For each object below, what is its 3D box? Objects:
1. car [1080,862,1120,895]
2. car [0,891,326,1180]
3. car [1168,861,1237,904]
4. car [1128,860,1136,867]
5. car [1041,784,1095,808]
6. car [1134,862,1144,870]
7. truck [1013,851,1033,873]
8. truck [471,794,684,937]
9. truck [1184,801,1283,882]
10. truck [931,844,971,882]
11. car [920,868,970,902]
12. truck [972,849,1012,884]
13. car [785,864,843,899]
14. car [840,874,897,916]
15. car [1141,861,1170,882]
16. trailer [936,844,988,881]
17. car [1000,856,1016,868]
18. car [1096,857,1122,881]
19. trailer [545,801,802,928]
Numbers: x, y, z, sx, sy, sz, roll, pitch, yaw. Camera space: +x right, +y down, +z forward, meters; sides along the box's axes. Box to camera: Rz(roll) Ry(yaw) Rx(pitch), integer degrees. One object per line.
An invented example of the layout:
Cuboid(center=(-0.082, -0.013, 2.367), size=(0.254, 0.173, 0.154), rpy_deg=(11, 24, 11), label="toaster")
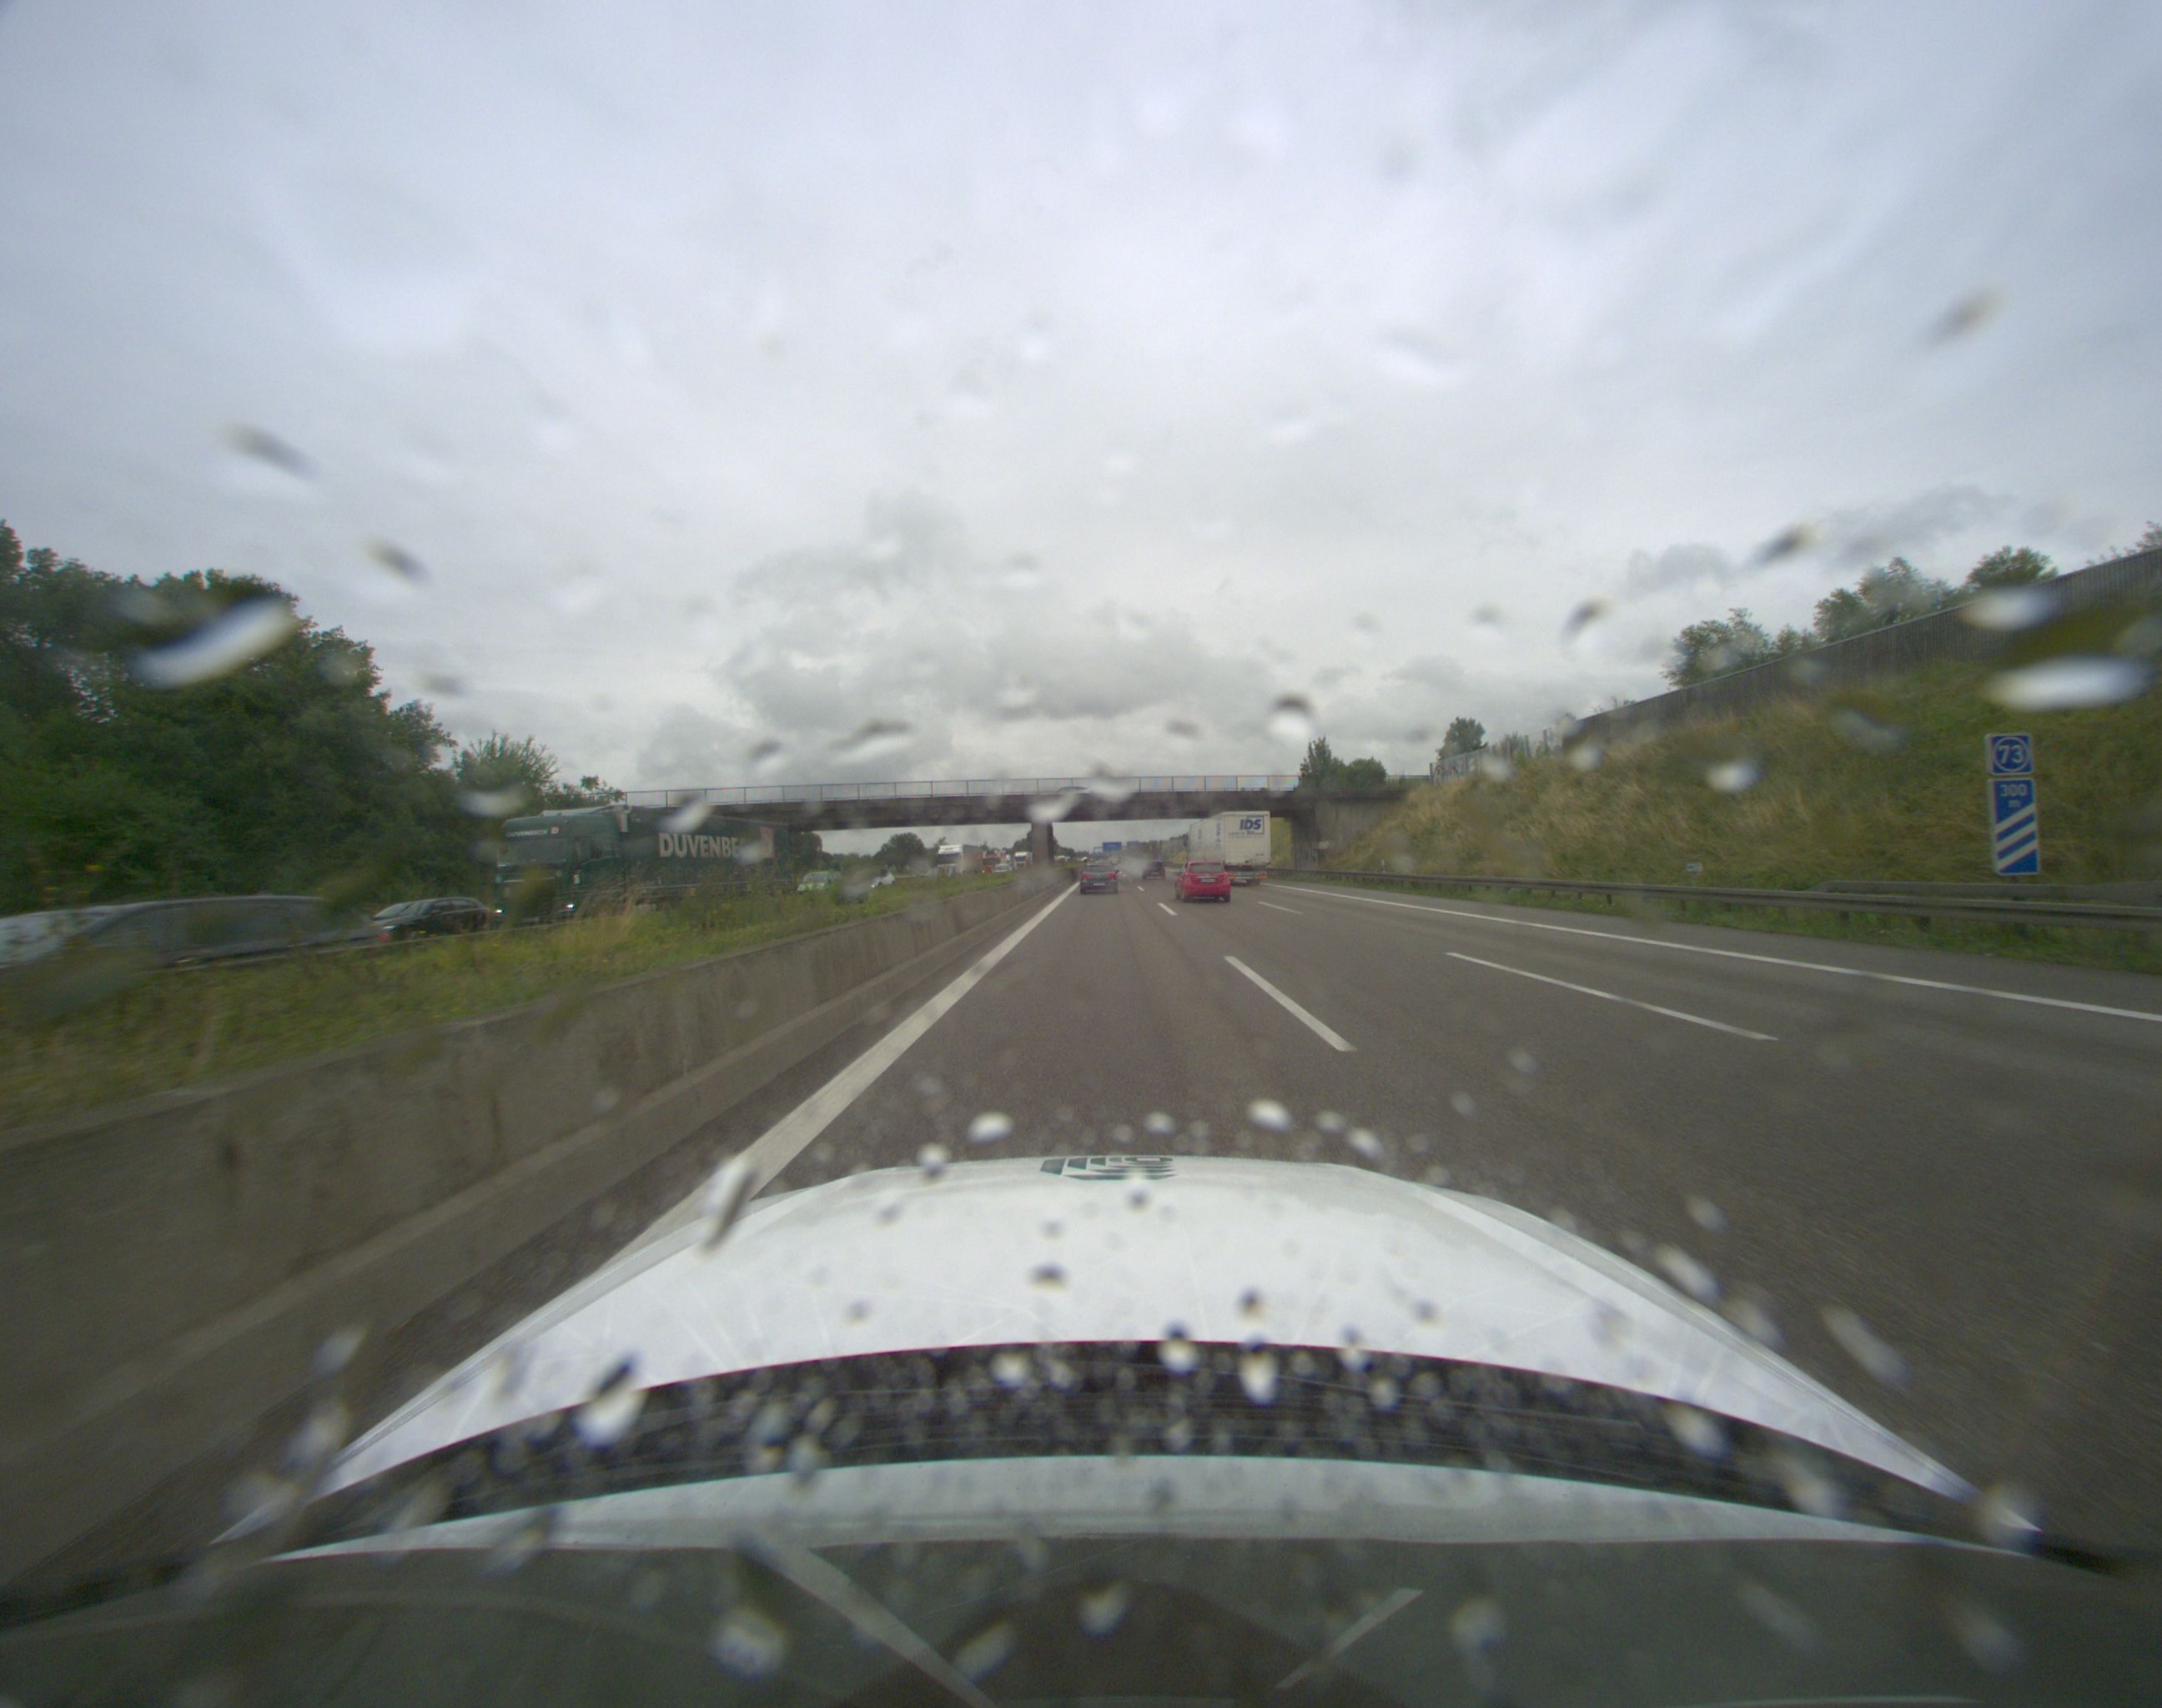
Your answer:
Cuboid(center=(0.876, 1.122, 38.110), size=(1.762, 1.467, 4.000), rpy_deg=(0, -1, 1), label="car")
Cuboid(center=(-8.802, 1.421, 6.435), size=(1.779, 2.013, 4.001), rpy_deg=(-3, -1, 2), label="car")
Cuboid(center=(4.436, 0.991, 30.372), size=(1.884, 1.447, 4.685), rpy_deg=(-1, -1, 1), label="car")
Cuboid(center=(13.513, 2.536, 217.036), size=(1.986, 1.812, 4.229), rpy_deg=(-3, -1, 2), label="car")
Cuboid(center=(-1.057, -4.562, 64.404), size=(3.989, 1.618, 1.872), rpy_deg=(0, -1, -12), label="car")
Cuboid(center=(12.034, 2.435, 168.084), size=(1.839, 1.687, 4.000), rpy_deg=(0, -1, 1), label="car")
Cuboid(center=(-11.804, 1.727, 166.347), size=(2.965, 4.319, 9.673), rpy_deg=(0, -1, 2), label="truck")
Cuboid(center=(-15.767, 0.382, 26.184), size=(2.747, 4.050, 6.257), rpy_deg=(0, -1, 2), label="truck")
Cuboid(center=(9.246, -0.488, 52.586), size=(3.271, 4.295, 19.036), rpy_deg=(0, -1, 1), label="truck")
Cuboid(center=(-14.120, 1.015, 88.883), size=(3.260, 4.045, 5.294), rpy_deg=(0, -1, 2), label="truck")
Cuboid(center=(-7.536, 1.679, 45.558), size=(1.986, 1.816, 4.001), rpy_deg=(0, -1, 2), label="car")
Cuboid(center=(-13.481, 1.962, 125.250), size=(4.018, 4.944, 14.438), rpy_deg=(0, -1, 2), label="truck")
Cuboid(center=(-15.745, 1.606, 48.234), size=(1.986, 2.014, 4.001), rpy_deg=(0, -1, 2), label="car")
Cuboid(center=(-11.350, 2.147, 43.741), size=(1.779, 2.013, 4.001), rpy_deg=(-3, -1, 2), label="car")
Cuboid(center=(5.882, 1.354, 64.677), size=(1.914, 1.522, 4.623), rpy_deg=(-1, -1, 1), label="car")
Cuboid(center=(-13.911, 1.081, 96.658), size=(3.311, 3.979, 15.749), rpy_deg=(0, -1, 2), label="trailer")
Cuboid(center=(-12.603, 1.398, 140.475), size=(2.148, 2.014, 5.240), rpy_deg=(0, -1, 2), label="car")
Cuboid(center=(2.332, 1.268, 68.046), size=(1.986, 1.861, 4.001), rpy_deg=(-3, -1, 2), label="car")
Cuboid(center=(-15.532, 0.479, 33.306), size=(2.747, 4.050, 14.523), rpy_deg=(0, -1, 2), label="trailer")
